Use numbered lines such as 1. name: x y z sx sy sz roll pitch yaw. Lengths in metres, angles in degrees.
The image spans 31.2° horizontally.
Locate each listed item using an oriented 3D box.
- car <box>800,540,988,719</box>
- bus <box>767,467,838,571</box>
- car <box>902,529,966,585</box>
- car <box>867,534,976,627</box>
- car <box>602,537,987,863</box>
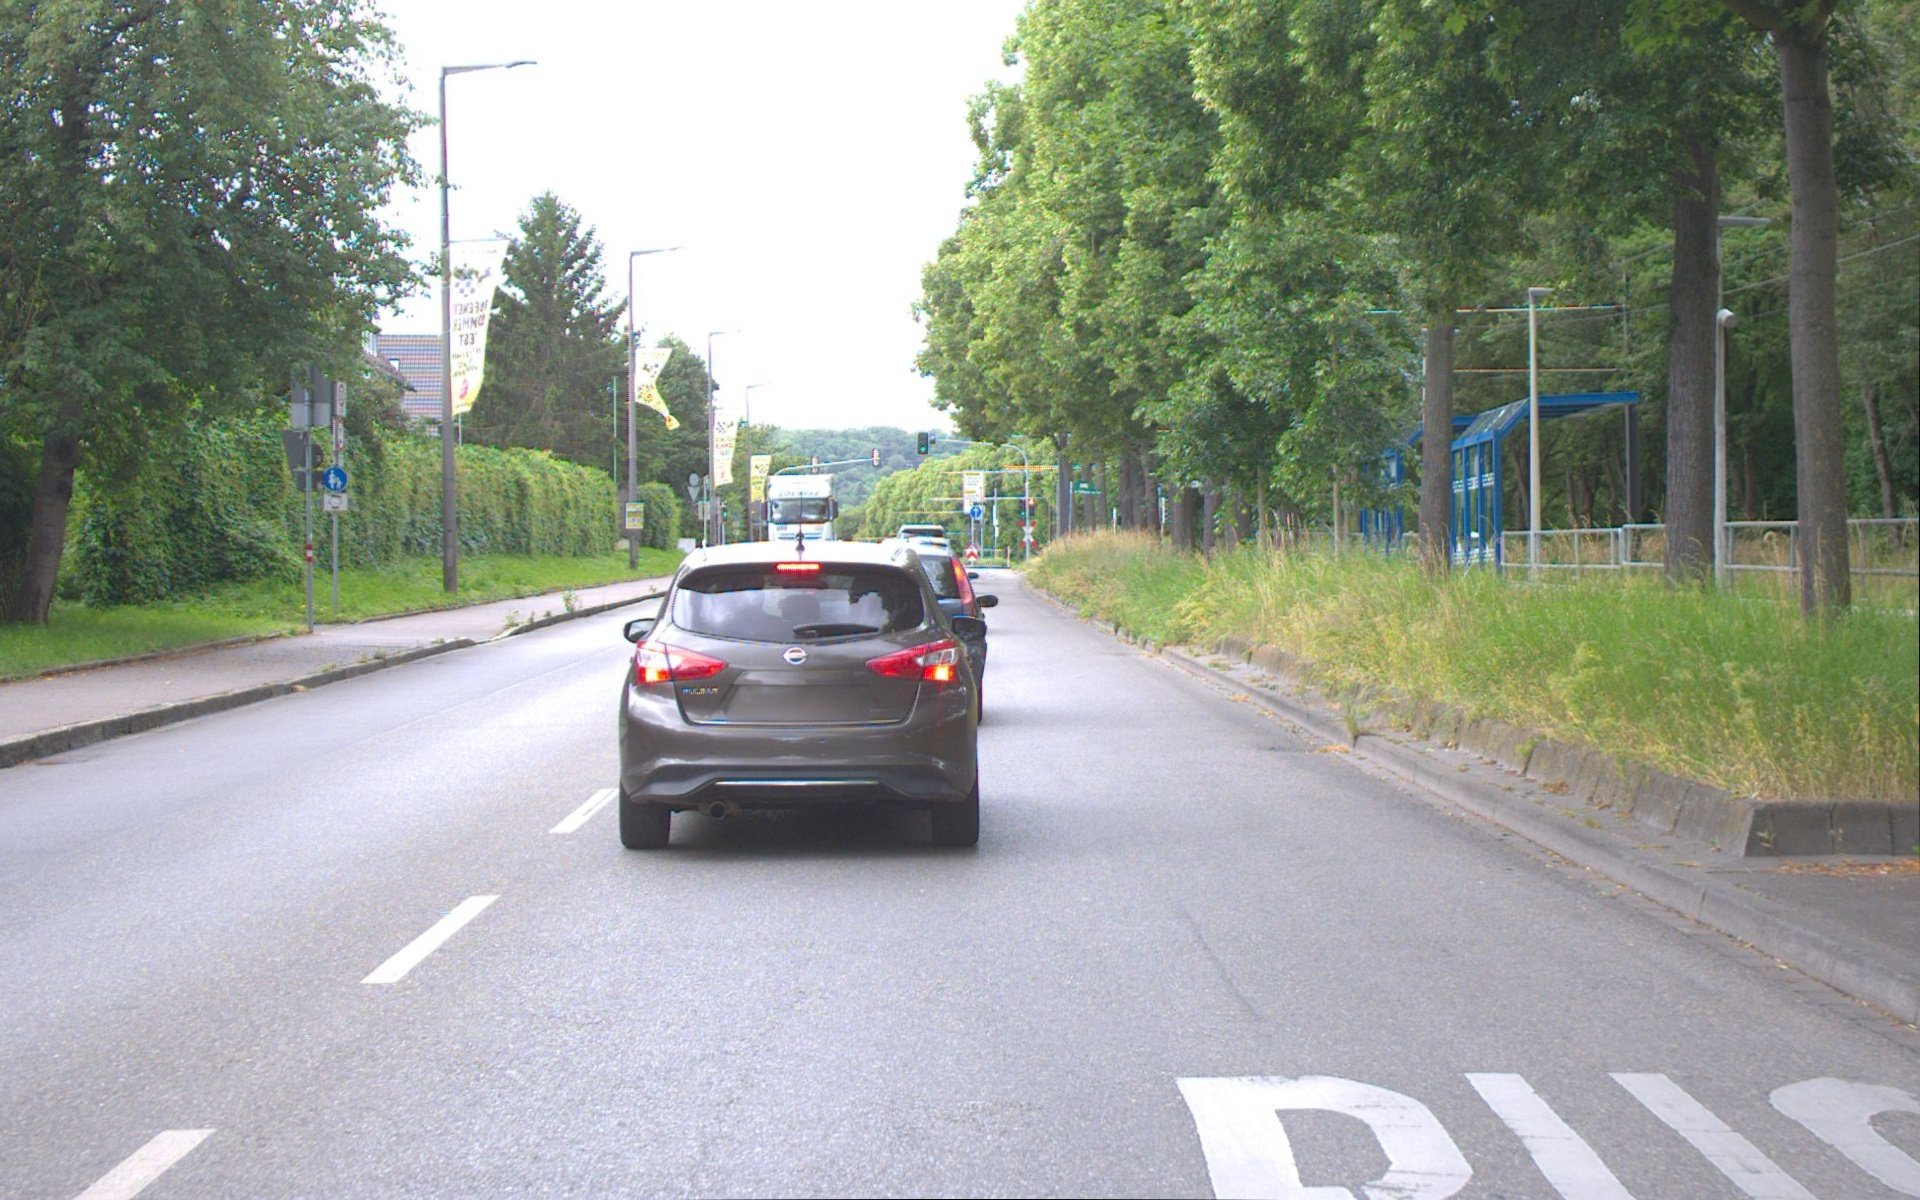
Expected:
1. car: -0.564 0.218 29.471 1.502 1.436 3.542 0 1 -1
2. bus: -6.254 -3.210 137.507 2.487 4.012 10.218 0 1 -1
3. car: -0.711 -1.149 92.004 1.691 1.436 3.542 0 1 -1
4. car: -0.638 -0.321 55.442 1.691 1.436 3.542 0 1 -1
5. car: -0.791 0.458 18.044 1.783 1.502 3.696 -1 0 0
